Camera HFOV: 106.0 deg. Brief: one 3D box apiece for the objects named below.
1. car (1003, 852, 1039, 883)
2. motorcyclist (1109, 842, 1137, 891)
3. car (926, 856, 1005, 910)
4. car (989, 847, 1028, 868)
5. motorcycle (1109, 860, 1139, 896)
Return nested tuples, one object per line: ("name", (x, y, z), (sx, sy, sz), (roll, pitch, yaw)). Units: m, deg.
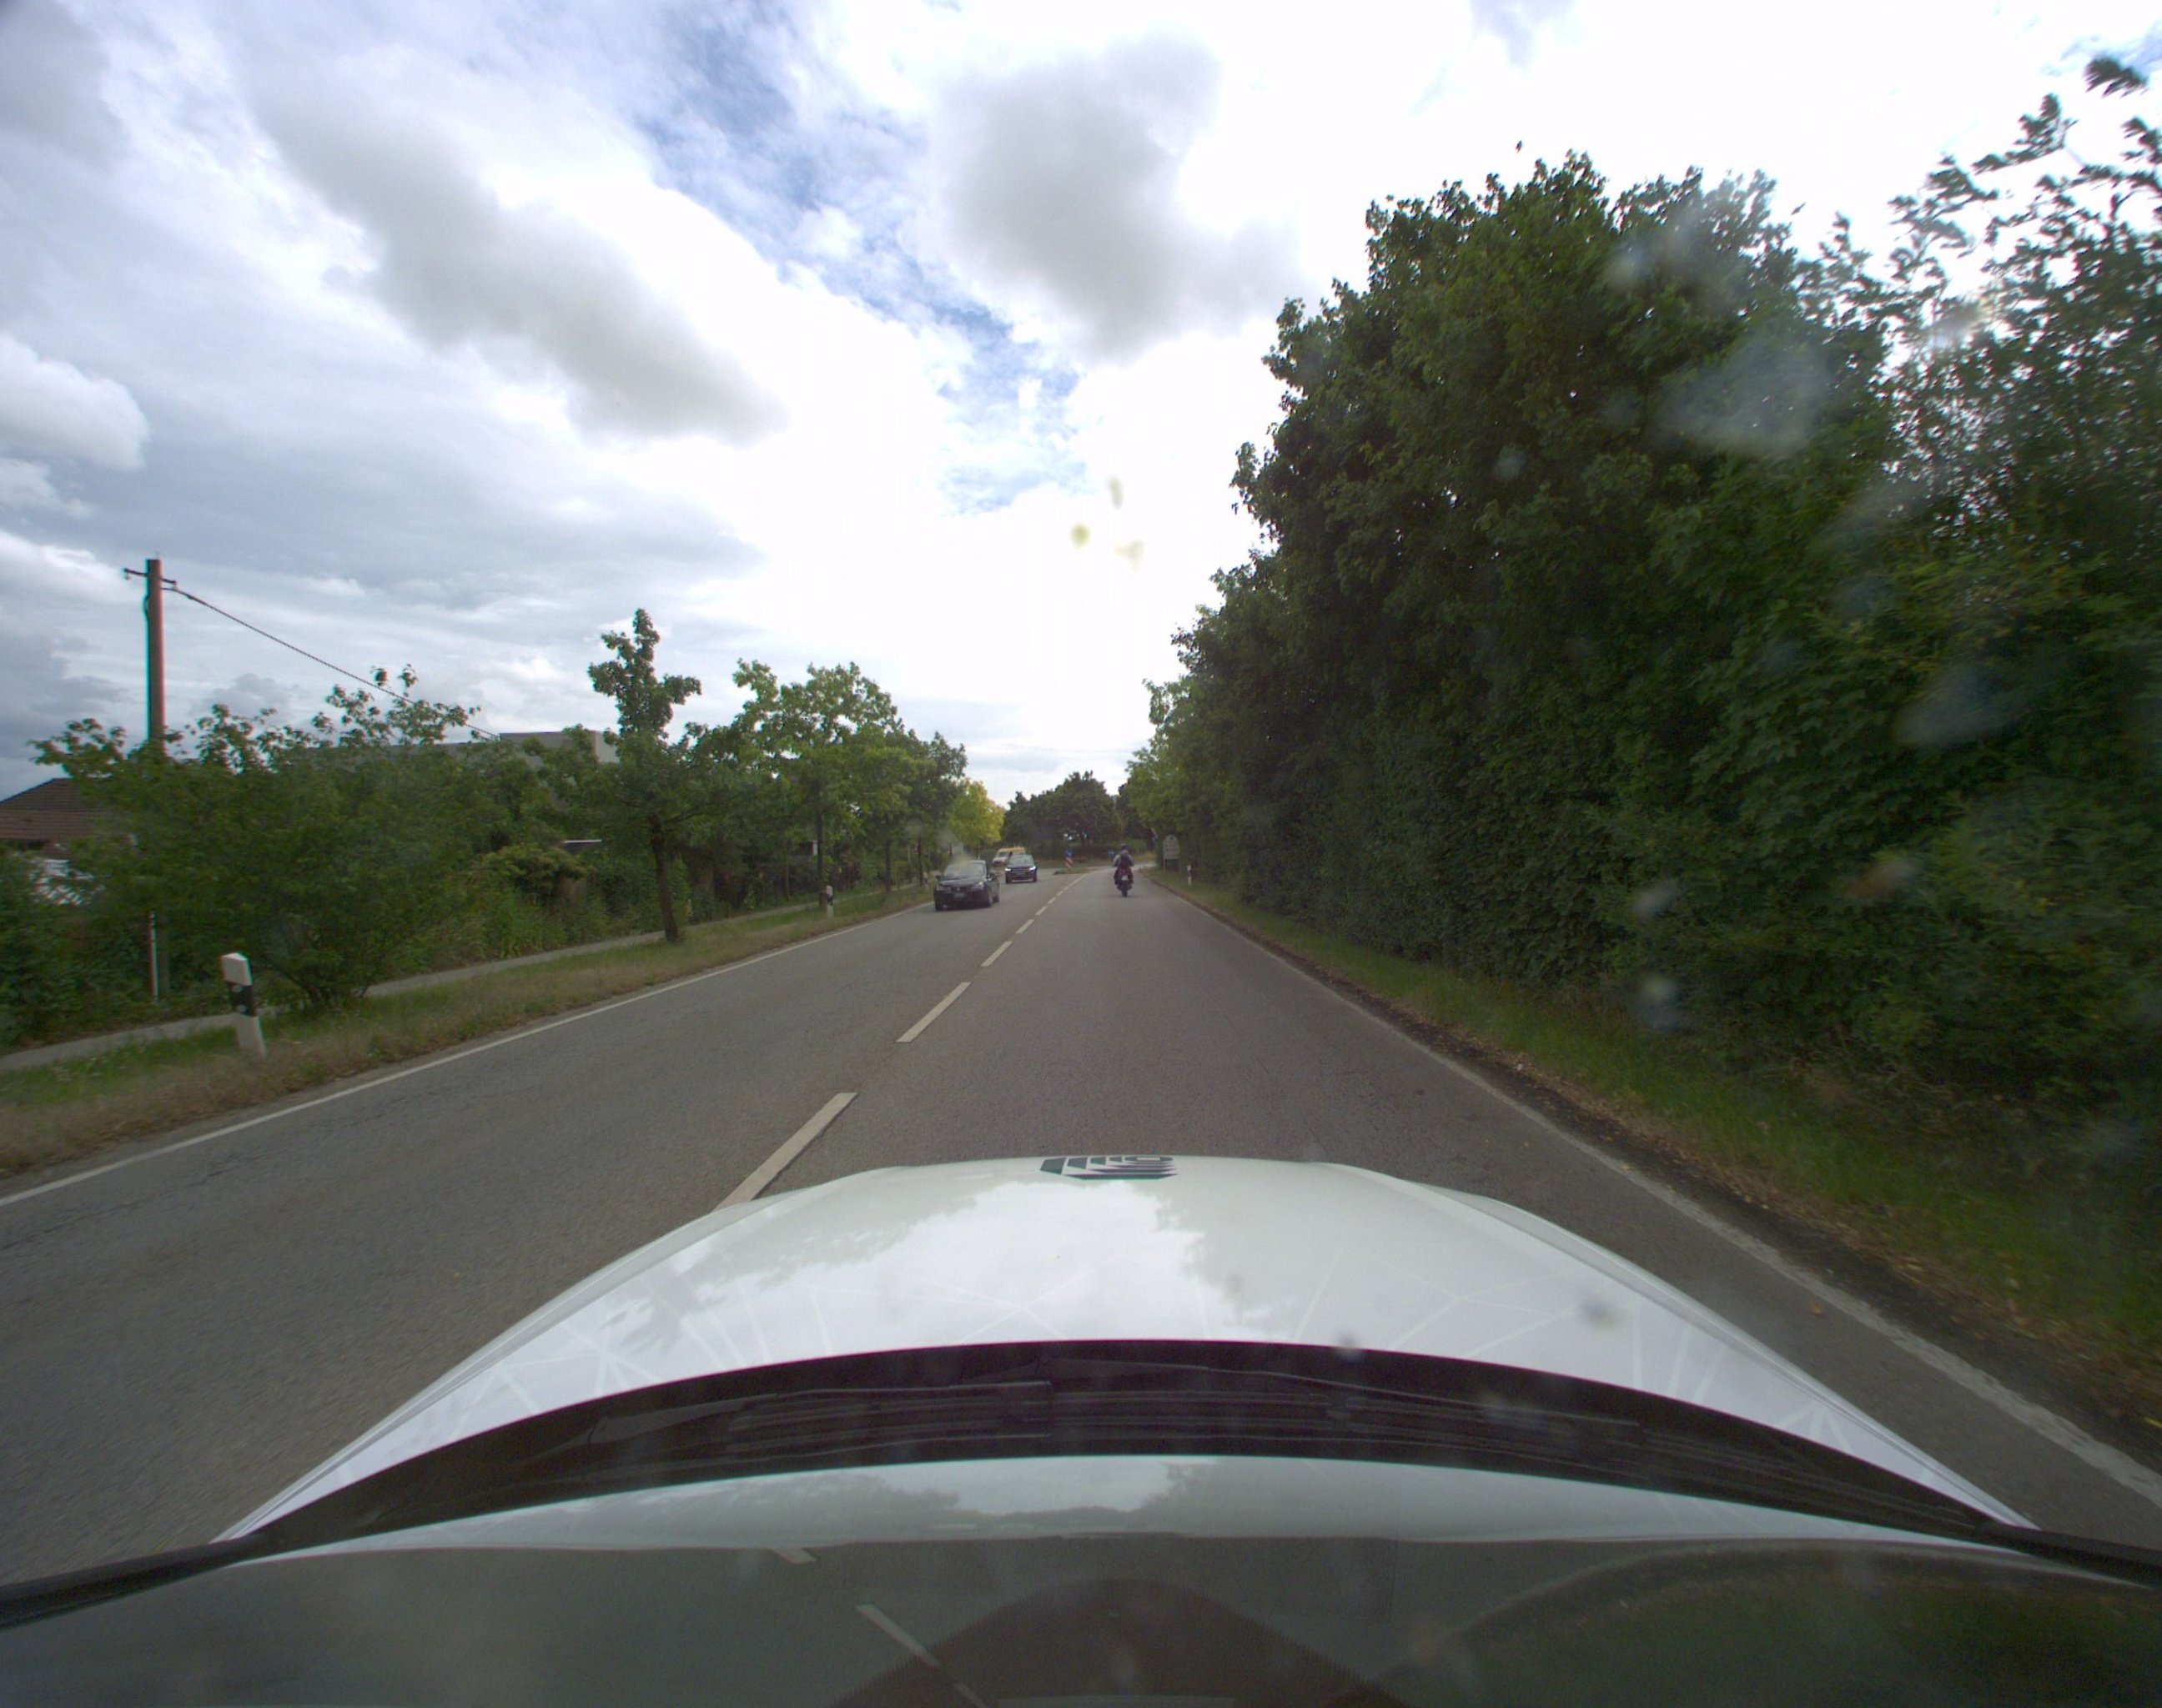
("car", (-3.404, 0.737, 46.633), (1.728, 1.534, 4.093), (-4, 0, -1))
("motorcyclist", (1.447, 0.422, 28.232), (0.858, 1.623, 1.191), (-2, 0, 1))
("car", (-3.508, 0.855, 25.495), (1.670, 1.411, 4.014), (-4, 0, 2))
("car", (-9.017, 0.399, 101.528), (2.142, 2.452, 5.475), (-3, 0, 26))
("motorcycle", (1.457, 0.801, 28.202), (0.893, 1.158, 2.621), (-2, 0, 1))
